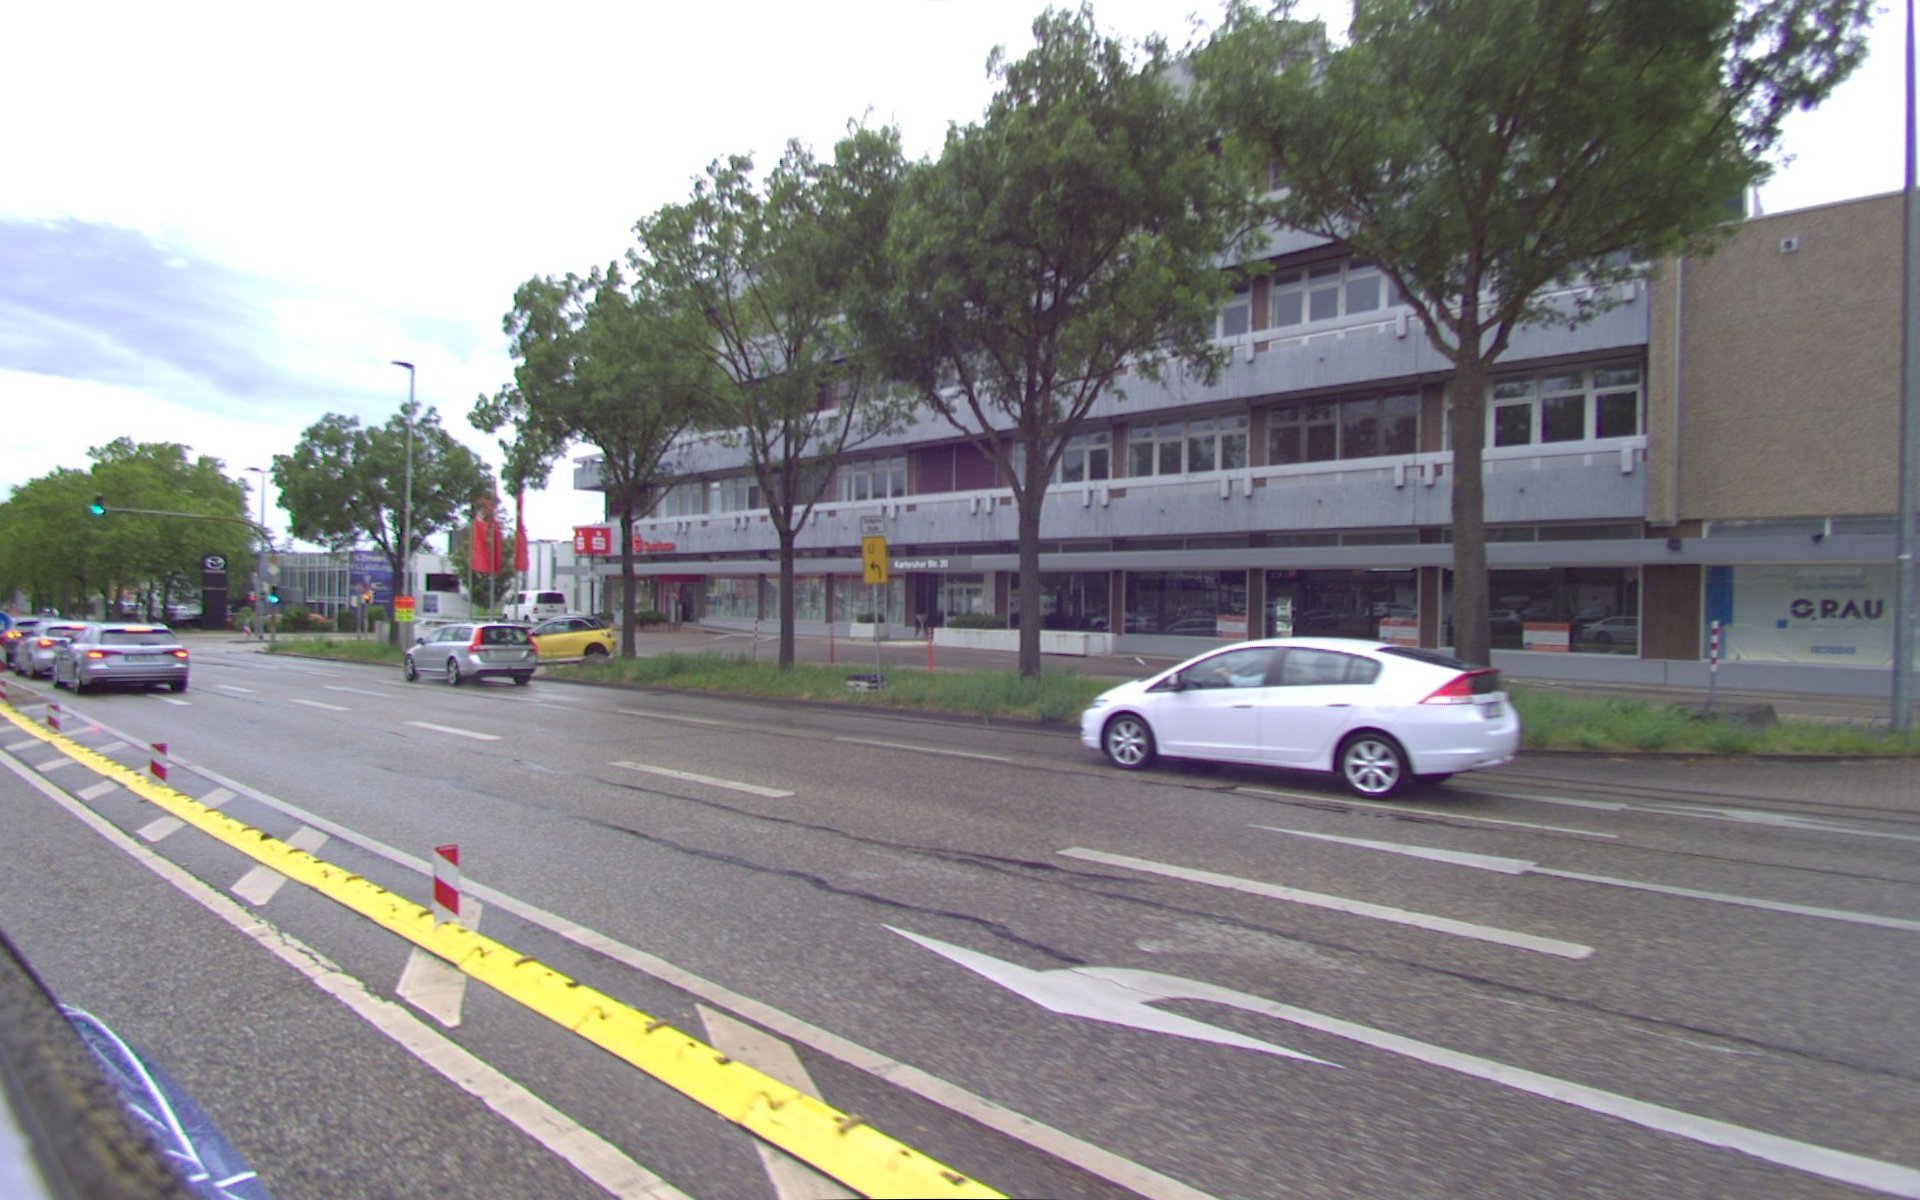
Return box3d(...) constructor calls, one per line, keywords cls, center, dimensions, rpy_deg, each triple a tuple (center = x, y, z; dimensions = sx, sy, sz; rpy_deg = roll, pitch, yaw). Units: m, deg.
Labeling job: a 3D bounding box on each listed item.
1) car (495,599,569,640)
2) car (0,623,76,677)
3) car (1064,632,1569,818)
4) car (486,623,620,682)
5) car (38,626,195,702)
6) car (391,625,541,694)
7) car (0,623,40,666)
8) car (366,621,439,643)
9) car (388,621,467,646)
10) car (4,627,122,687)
box3d(cls="car", center=(-22.511, 1.005, 53.132), dimensions=(1.970, 2.029, 4.890), rpy_deg=(-2, 1, -43))
box3d(cls="car", center=(-28.085, 1.463, 30.415), dimensions=(3.998, 1.536, 1.731), rpy_deg=(-1, -3, 41))
box3d(cls="car", center=(3.353, 1.063, 10.134), dimensions=(4.468, 1.417, 1.722), rpy_deg=(-1, -3, 43))
box3d(cls="car", center=(-12.723, 1.619, 31.820), dimensions=(3.650, 1.520, 1.626), rpy_deg=(-2, 2, -12))
box3d(cls="car", center=(-17.642, 1.271, 21.094), dimensions=(4.614, 1.417, 1.765), rpy_deg=(-1, -3, 41))
box3d(cls="car", center=(-12.433, 1.428, 25.301), dimensions=(4.781, 1.564, 1.722), rpy_deg=(-1, -3, 43))
box3d(cls="car", center=(-35.247, 1.598, 37.126), dimensions=(3.998, 1.522, 1.731), rpy_deg=(-1, -3, 41))
box3d(cls="car", center=(-41.952, 2.408, 76.161), dimensions=(4.456, 1.670, 1.956), rpy_deg=(2, -3, -44))
box3d(cls="car", center=(-37.001, 2.354, 70.359), dimensions=(4.456, 1.670, 1.956), rpy_deg=(2, -3, -44))
box3d(cls="car", center=(-22.863, 1.393, 25.749), dimensions=(3.998, 1.417, 1.723), rpy_deg=(-1, -3, 41))
